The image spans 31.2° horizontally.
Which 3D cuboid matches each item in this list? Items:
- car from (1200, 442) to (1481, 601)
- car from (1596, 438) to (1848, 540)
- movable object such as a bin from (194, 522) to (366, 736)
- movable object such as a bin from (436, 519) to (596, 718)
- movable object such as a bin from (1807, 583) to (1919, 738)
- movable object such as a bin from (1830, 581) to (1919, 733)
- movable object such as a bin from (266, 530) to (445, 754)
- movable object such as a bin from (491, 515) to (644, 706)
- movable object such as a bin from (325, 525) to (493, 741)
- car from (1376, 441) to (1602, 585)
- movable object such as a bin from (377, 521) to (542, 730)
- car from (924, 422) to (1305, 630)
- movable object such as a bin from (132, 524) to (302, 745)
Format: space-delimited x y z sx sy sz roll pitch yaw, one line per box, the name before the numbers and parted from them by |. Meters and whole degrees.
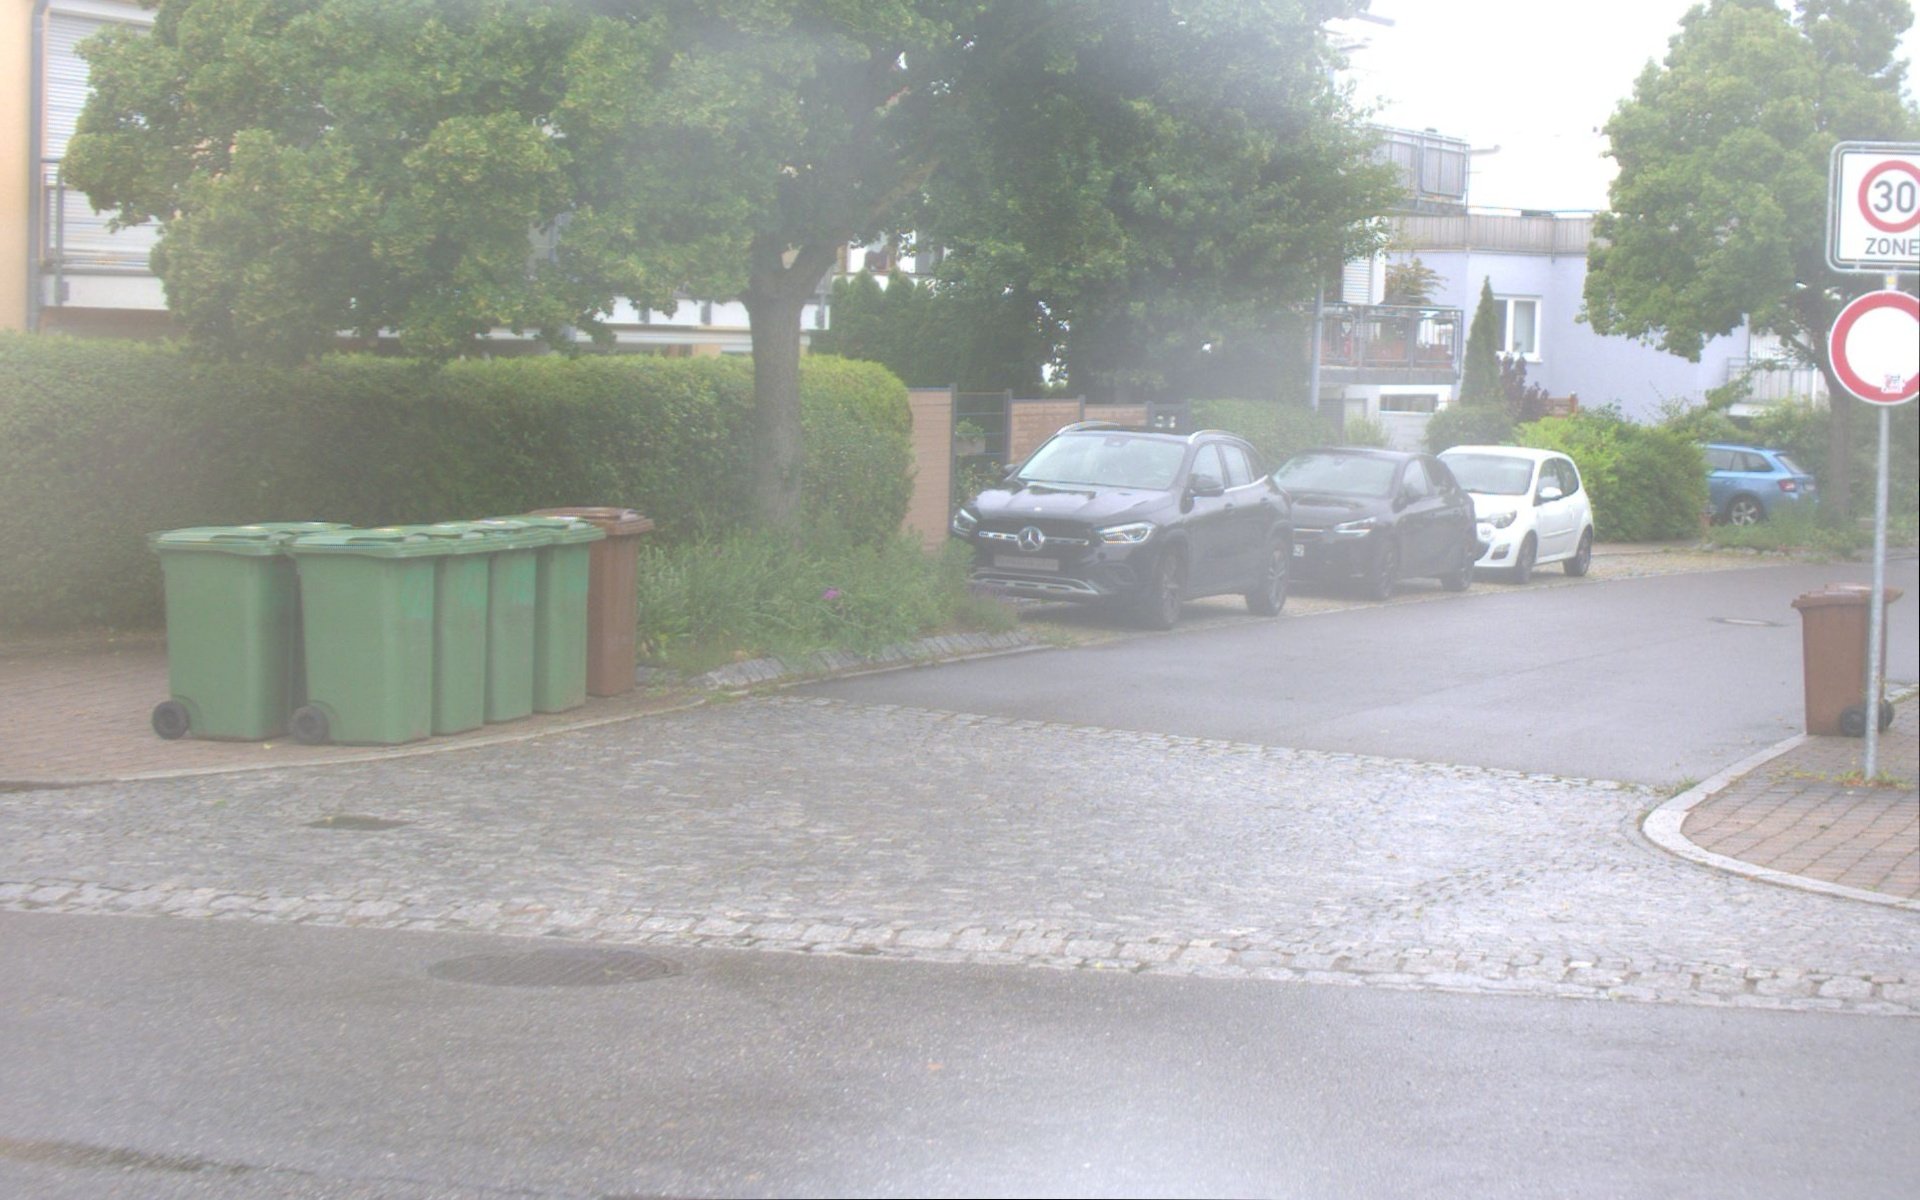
car | 3.861 -0.814 34.431 1.637 1.404 3.600 5 4 25
car | 13.243 -1.941 59.746 3.991 1.562 1.907 3 3 20
movable object such as a bin | -3.576 0.142 18.103 0.695 1.068 0.597 2 3 16
movable object such as a bin | -2.454 0.092 19.038 0.695 1.051 0.605 2 3 16
movable object such as a bin | 5.712 0.374 21.680 0.571 0.928 0.529 3 3 29
movable object such as a bin | 5.990 0.359 22.189 0.571 0.928 0.529 3 3 29
movable object such as a bin | -3.041 0.200 17.324 0.695 1.071 0.602 2 3 16
movable object such as a bin | -2.261 0.049 19.827 0.695 1.051 0.605 2 3 16
movable object such as a bin | -2.866 0.164 17.902 0.695 1.071 0.543 2 3 16
car | 6.011 -1.004 38.847 1.513 1.471 3.269 5 4 26
movable object such as a bin | -2.684 0.127 18.458 0.695 1.063 0.579 2 3 16
car | 1.382 -0.667 28.925 1.778 1.513 4.133 5 4 23
movable object such as a bin | -3.783 0.166 17.522 0.665 1.069 0.543 2 3 16
